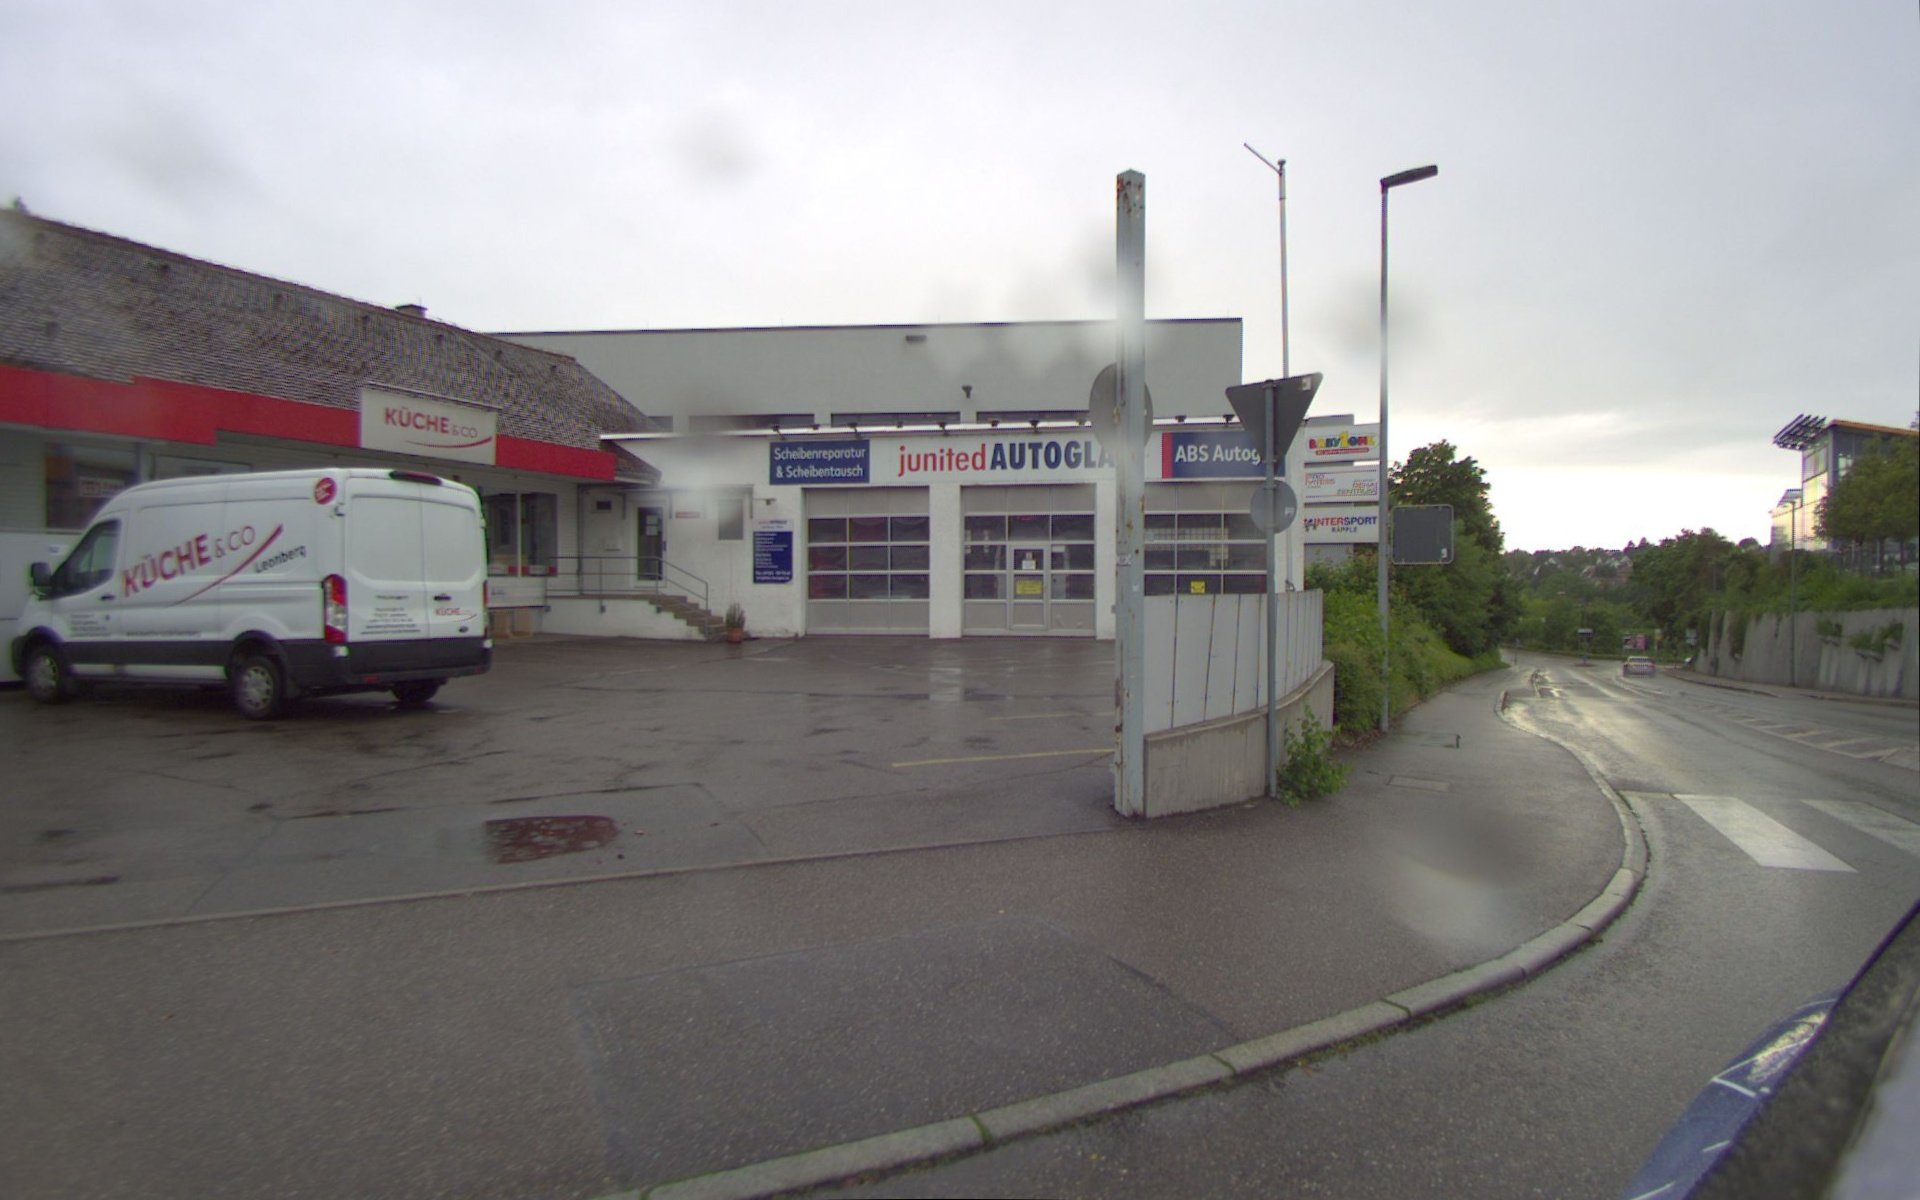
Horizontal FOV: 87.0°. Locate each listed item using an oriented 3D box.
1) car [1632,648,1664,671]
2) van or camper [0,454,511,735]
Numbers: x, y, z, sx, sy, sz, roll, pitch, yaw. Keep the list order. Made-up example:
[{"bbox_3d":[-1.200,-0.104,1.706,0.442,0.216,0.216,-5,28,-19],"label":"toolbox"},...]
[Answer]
[{"bbox_3d":[47.286,4.078,69.606,1.798,1.483,3.950,0,-2,34],"label":"car"},{"bbox_3d":[-7.781,-0.112,11.194,5.199,2.572,2.116,1,1,21],"label":"van or camper"}]
